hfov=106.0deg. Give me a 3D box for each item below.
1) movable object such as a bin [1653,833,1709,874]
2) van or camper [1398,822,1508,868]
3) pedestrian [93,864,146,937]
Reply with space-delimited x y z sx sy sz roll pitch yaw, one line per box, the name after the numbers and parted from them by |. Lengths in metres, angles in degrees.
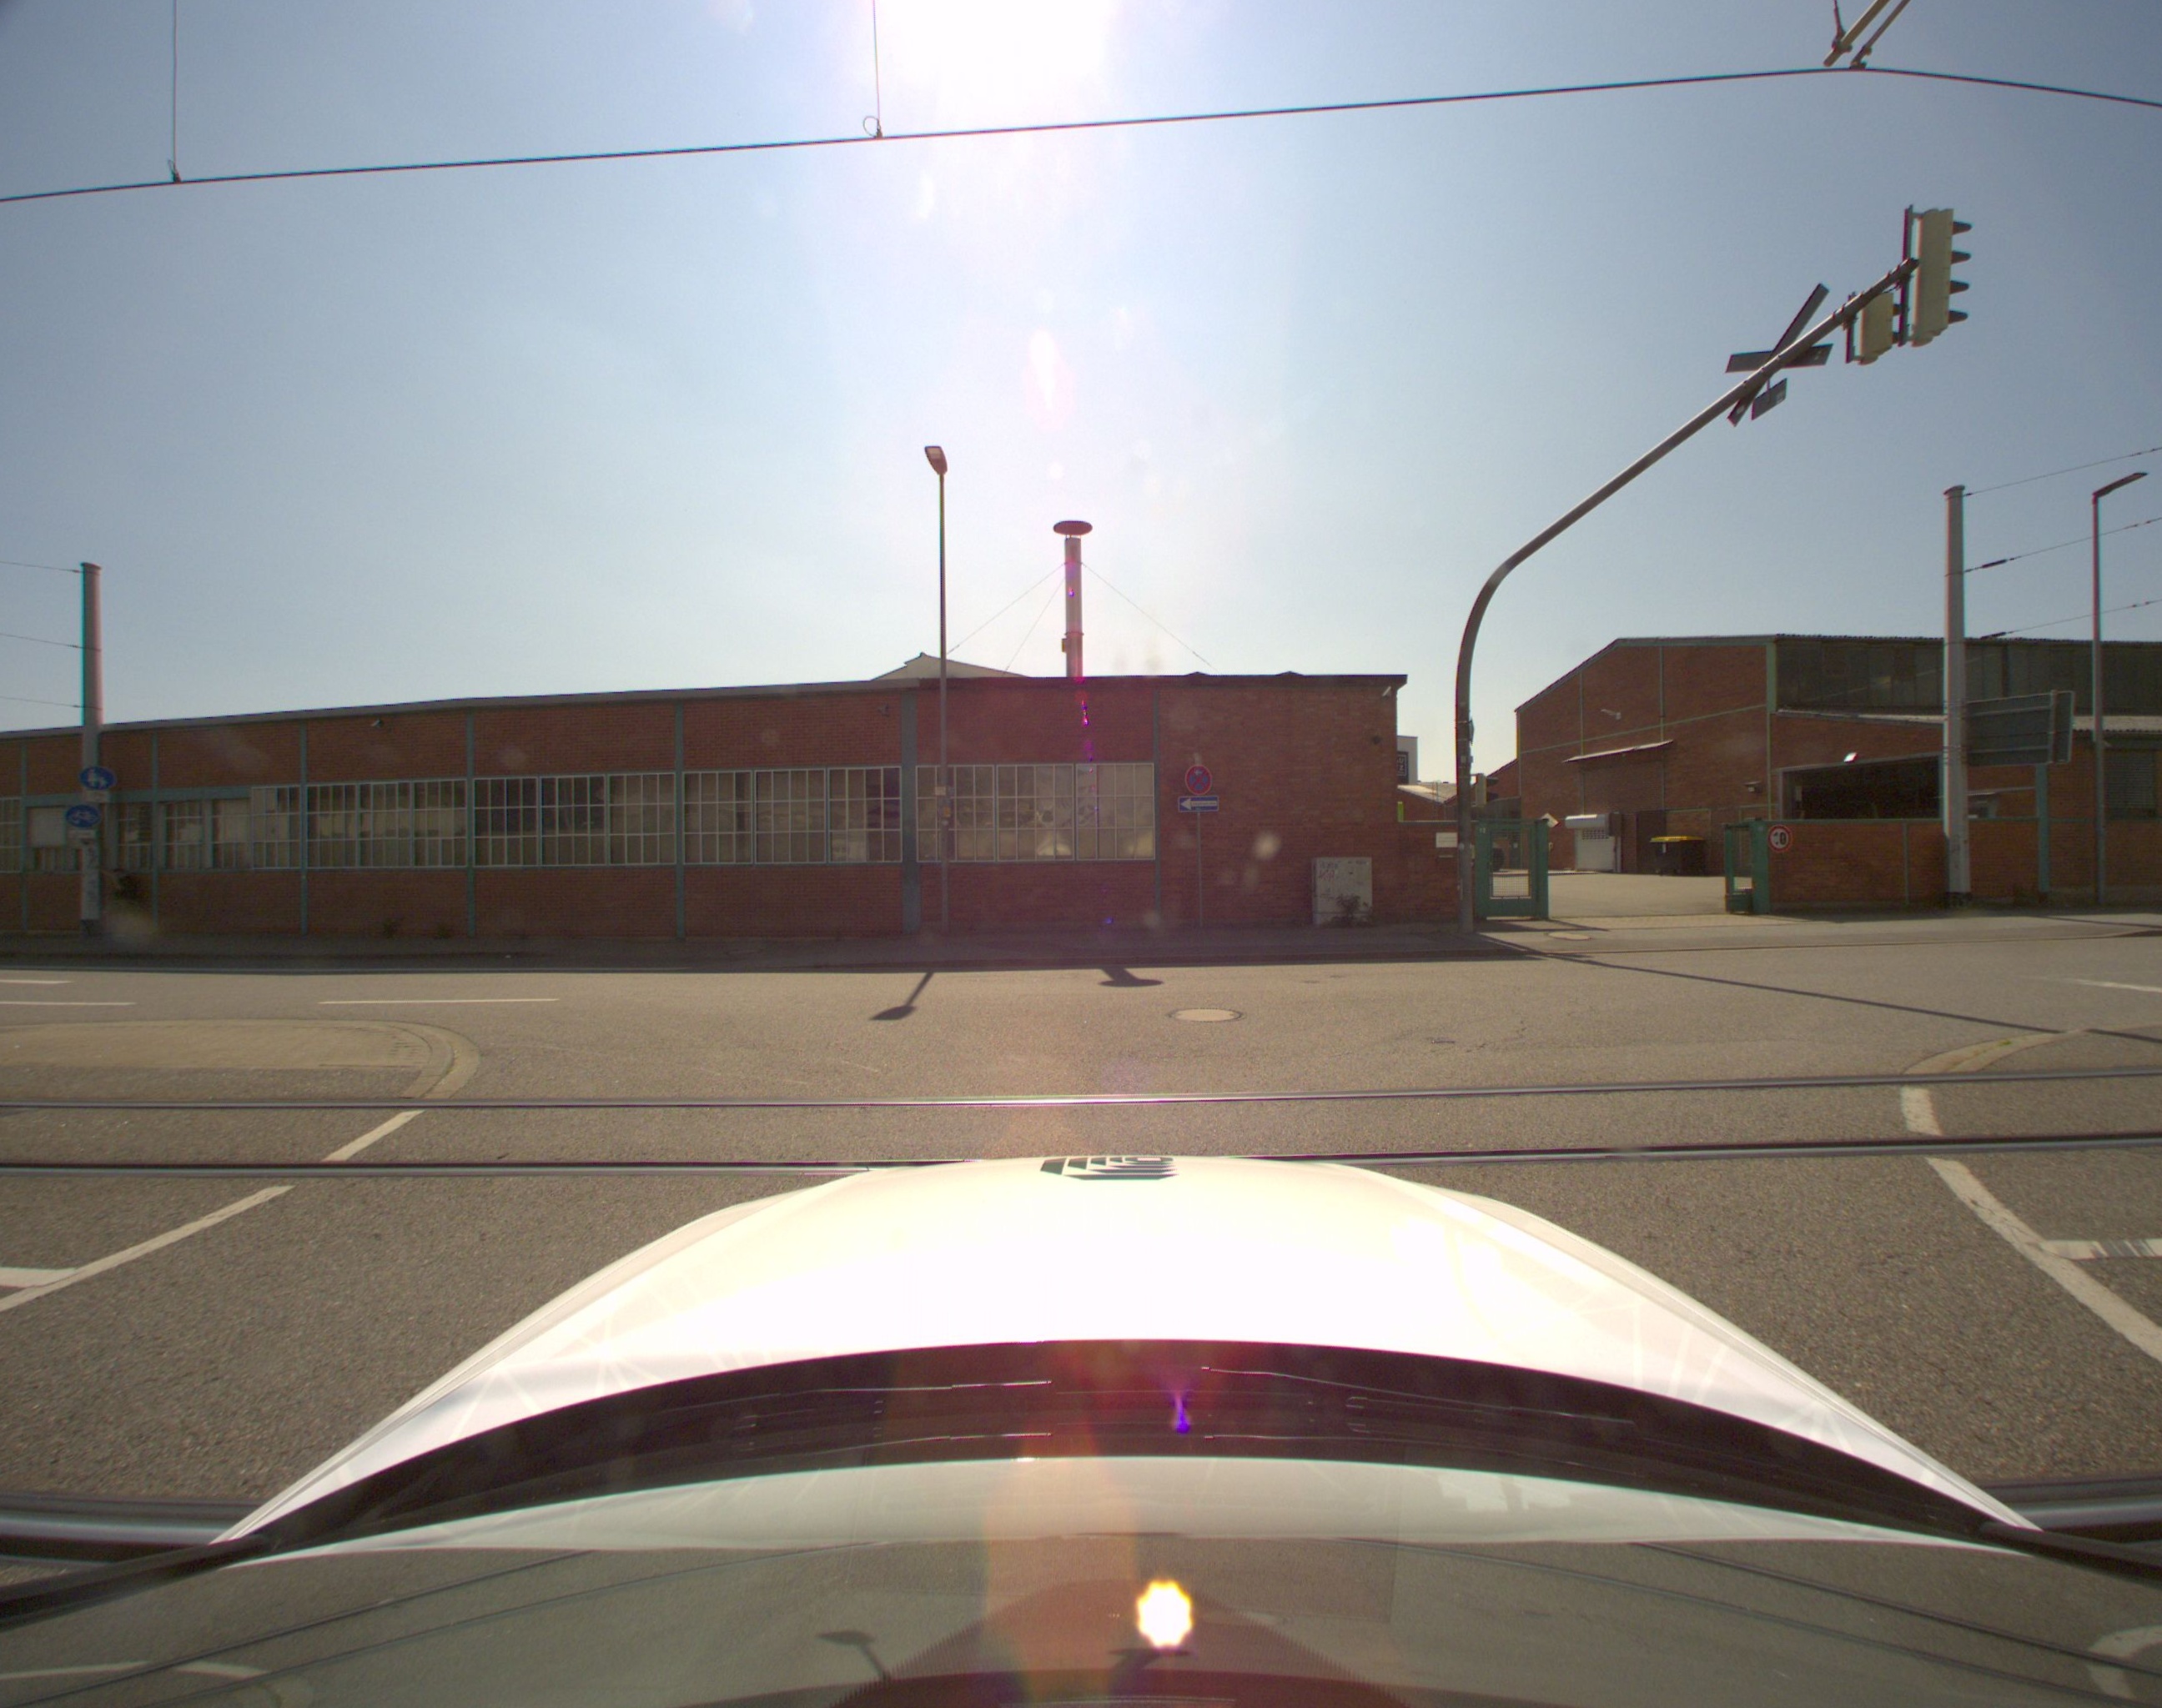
20.088 -0.033 27.296 0.972 1.314 1.150 -2 0 -5 | movable object such as a bin
16.404 -0.370 35.872 4.427 1.900 1.984 1 0 -24 | van or camper
-23.715 1.129 20.097 0.444 1.765 0.689 1 0 15 | pedestrian
